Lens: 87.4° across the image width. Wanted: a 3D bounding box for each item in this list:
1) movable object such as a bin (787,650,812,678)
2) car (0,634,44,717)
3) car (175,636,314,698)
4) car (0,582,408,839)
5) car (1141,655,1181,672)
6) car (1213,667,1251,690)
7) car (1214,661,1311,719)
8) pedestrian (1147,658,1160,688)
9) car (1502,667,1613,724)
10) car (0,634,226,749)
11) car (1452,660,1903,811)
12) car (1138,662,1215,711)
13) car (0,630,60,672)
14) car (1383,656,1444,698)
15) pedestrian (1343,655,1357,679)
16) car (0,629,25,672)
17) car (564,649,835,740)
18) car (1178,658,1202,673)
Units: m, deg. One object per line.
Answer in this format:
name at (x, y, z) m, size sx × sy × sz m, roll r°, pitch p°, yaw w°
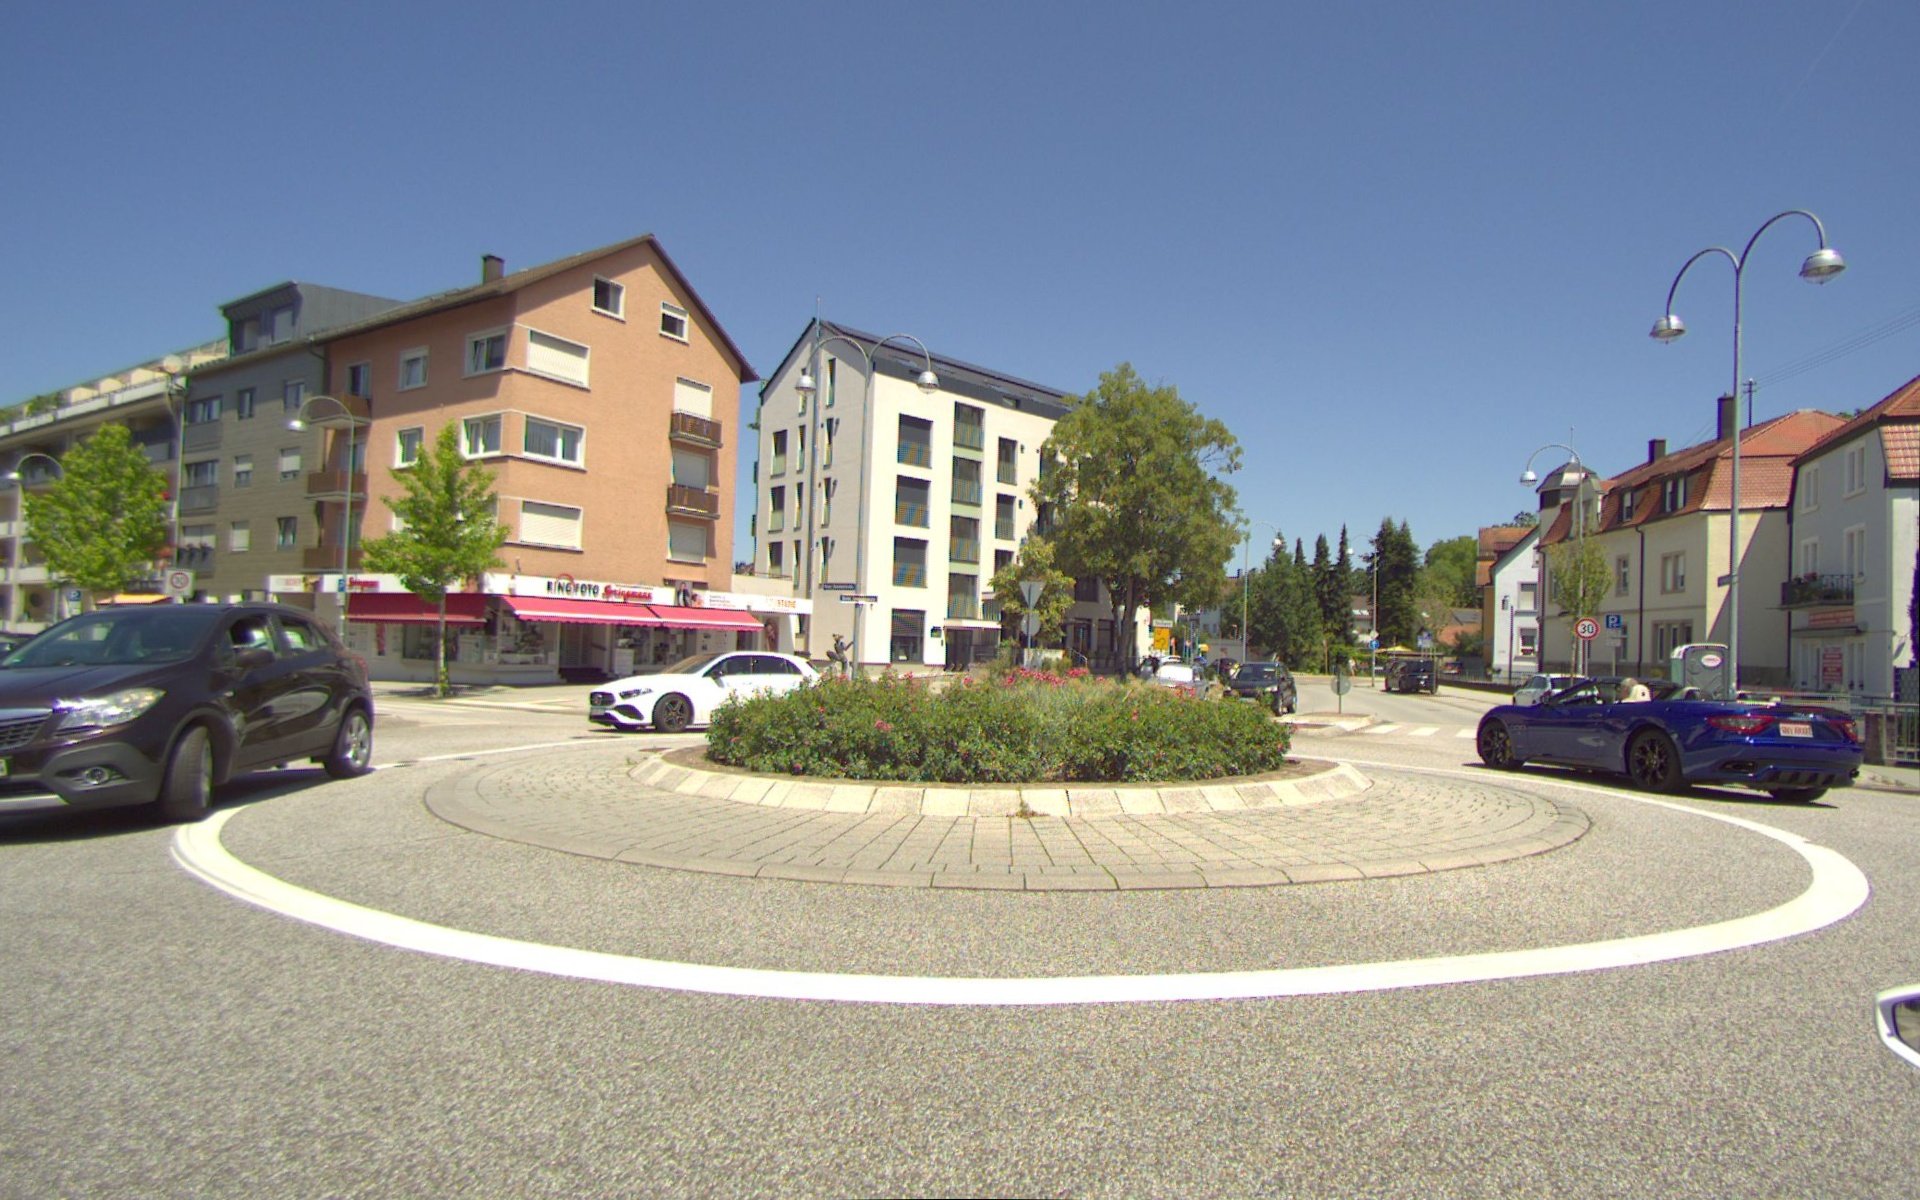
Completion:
movable object such as a bin at (-7.042, 2.803, 44.169) m, size 0.755 × 1.170 × 0.765 m, roll 3°, pitch 0°, yaw -40°
car at (-19.411, 1.408, 19.328) m, size 3.845 × 1.497 × 1.851 m, roll 0°, pitch -2°, yaw 35°
car at (-22.307, 2.046, 31.320) m, size 3.835 × 1.747 × 1.752 m, roll 0°, pitch -1°, yaw 23°
car at (-6.453, 0.803, 8.233) m, size 1.963 × 1.582 × 4.163 m, roll 0°, pitch -3°, yaw -7°
car at (22.914, 7.230, 114.448) m, size 3.943 × 1.673 × 1.989 m, roll 3°, pitch 0°, yaw -23°
car at (22.277, 6.407, 82.444) m, size 1.960 × 1.710 × 4.529 m, roll 1°, pitch -2°, yaw 2°
car at (9.900, 2.856, 32.651) m, size 1.965 × 1.710 × 4.517 m, roll -1°, pitch -3°, yaw 31°
pedestrian at (10.025, 3.781, 51.996) m, size 0.523 × 1.504 × 0.555 m, roll 0°, pitch -3°, yaw 29°
car at (18.896, 2.990, 31.977) m, size 1.960 × 1.604 × 4.290 m, roll -4°, pitch -4°, yaw 17°
car at (-13.736, 1.321, 15.742) m, size 4.627 × 1.497 × 1.996 m, roll 0°, pitch -2°, yaw 32°
car at (8.329, 1.493, 12.341) m, size 1.945 × 1.416 × 4.624 m, roll 3°, pitch -3°, yaw -6°
car at (8.176, 3.196, 37.634) m, size 1.768 × 1.610 × 3.996 m, roll 3°, pitch -2°, yaw 27°
car at (-36.811, 1.957, 39.060) m, size 3.877 × 1.570 × 1.743 m, roll -1°, pitch -2°, yaw 34°
car at (24.576, 4.137, 54.588) m, size 1.959 × 1.890 × 4.290 m, roll 3°, pitch 0°, yaw 10°
pedestrian at (30.838, 5.273, 79.458) m, size 0.829 × 1.838 × 0.549 m, roll 3°, pitch 0°, yaw -6°
car at (-40.944, 2.066, 41.888) m, size 4.625 × 1.728 × 1.765 m, roll 0°, pitch -2°, yaw 33°
car at (-4.495, 1.600, 17.737) m, size 4.256 × 1.399 × 1.910 m, roll 3°, pitch -5°, yaw -42°
car at (22.999, 6.525, 100.524) m, size 1.514 × 1.396 × 4.002 m, roll 2°, pitch -3°, yaw 1°
